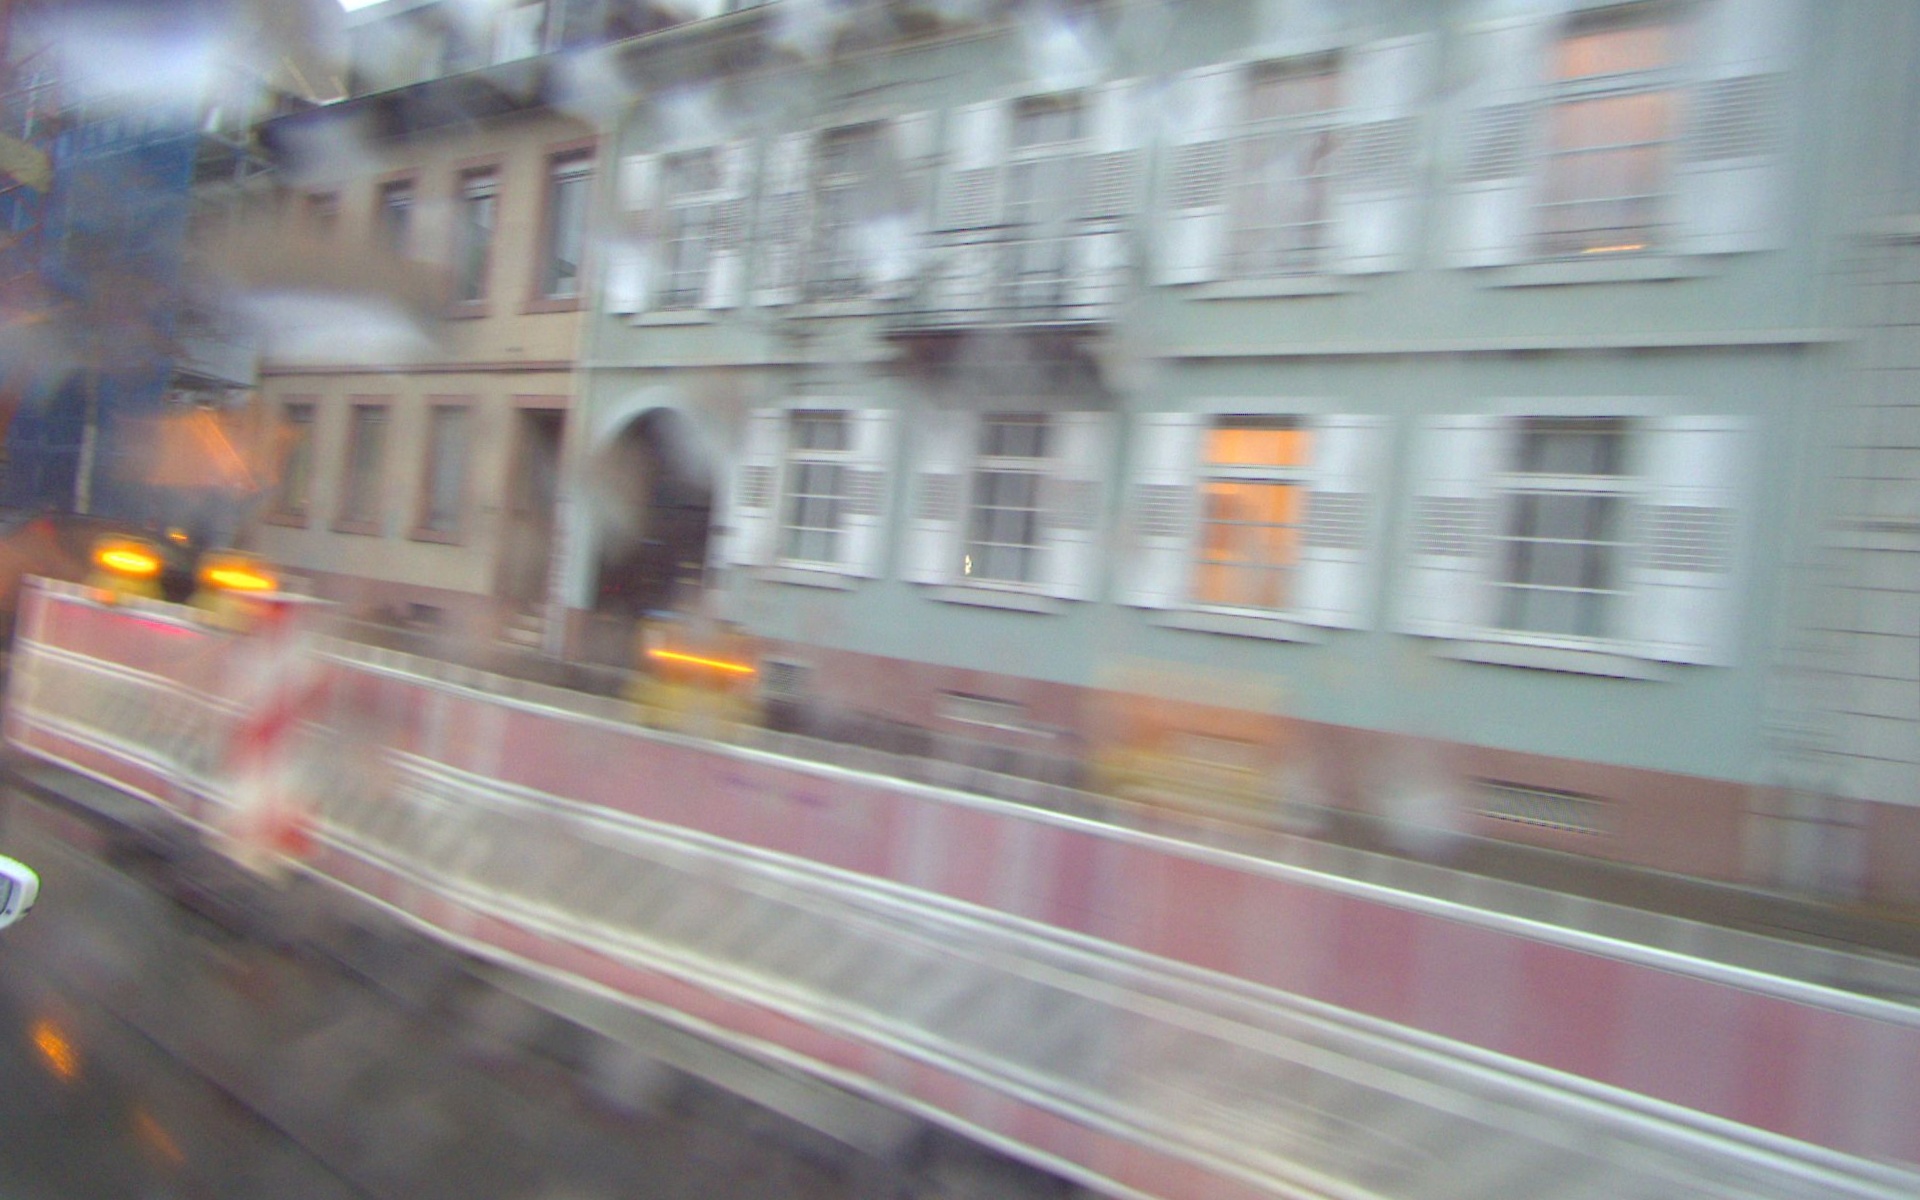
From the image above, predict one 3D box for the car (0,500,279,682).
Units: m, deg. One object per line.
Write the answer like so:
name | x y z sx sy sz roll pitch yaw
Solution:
car | -9.223 -0.162 10.326 1.875 1.536 4.092 7 -1 -7
